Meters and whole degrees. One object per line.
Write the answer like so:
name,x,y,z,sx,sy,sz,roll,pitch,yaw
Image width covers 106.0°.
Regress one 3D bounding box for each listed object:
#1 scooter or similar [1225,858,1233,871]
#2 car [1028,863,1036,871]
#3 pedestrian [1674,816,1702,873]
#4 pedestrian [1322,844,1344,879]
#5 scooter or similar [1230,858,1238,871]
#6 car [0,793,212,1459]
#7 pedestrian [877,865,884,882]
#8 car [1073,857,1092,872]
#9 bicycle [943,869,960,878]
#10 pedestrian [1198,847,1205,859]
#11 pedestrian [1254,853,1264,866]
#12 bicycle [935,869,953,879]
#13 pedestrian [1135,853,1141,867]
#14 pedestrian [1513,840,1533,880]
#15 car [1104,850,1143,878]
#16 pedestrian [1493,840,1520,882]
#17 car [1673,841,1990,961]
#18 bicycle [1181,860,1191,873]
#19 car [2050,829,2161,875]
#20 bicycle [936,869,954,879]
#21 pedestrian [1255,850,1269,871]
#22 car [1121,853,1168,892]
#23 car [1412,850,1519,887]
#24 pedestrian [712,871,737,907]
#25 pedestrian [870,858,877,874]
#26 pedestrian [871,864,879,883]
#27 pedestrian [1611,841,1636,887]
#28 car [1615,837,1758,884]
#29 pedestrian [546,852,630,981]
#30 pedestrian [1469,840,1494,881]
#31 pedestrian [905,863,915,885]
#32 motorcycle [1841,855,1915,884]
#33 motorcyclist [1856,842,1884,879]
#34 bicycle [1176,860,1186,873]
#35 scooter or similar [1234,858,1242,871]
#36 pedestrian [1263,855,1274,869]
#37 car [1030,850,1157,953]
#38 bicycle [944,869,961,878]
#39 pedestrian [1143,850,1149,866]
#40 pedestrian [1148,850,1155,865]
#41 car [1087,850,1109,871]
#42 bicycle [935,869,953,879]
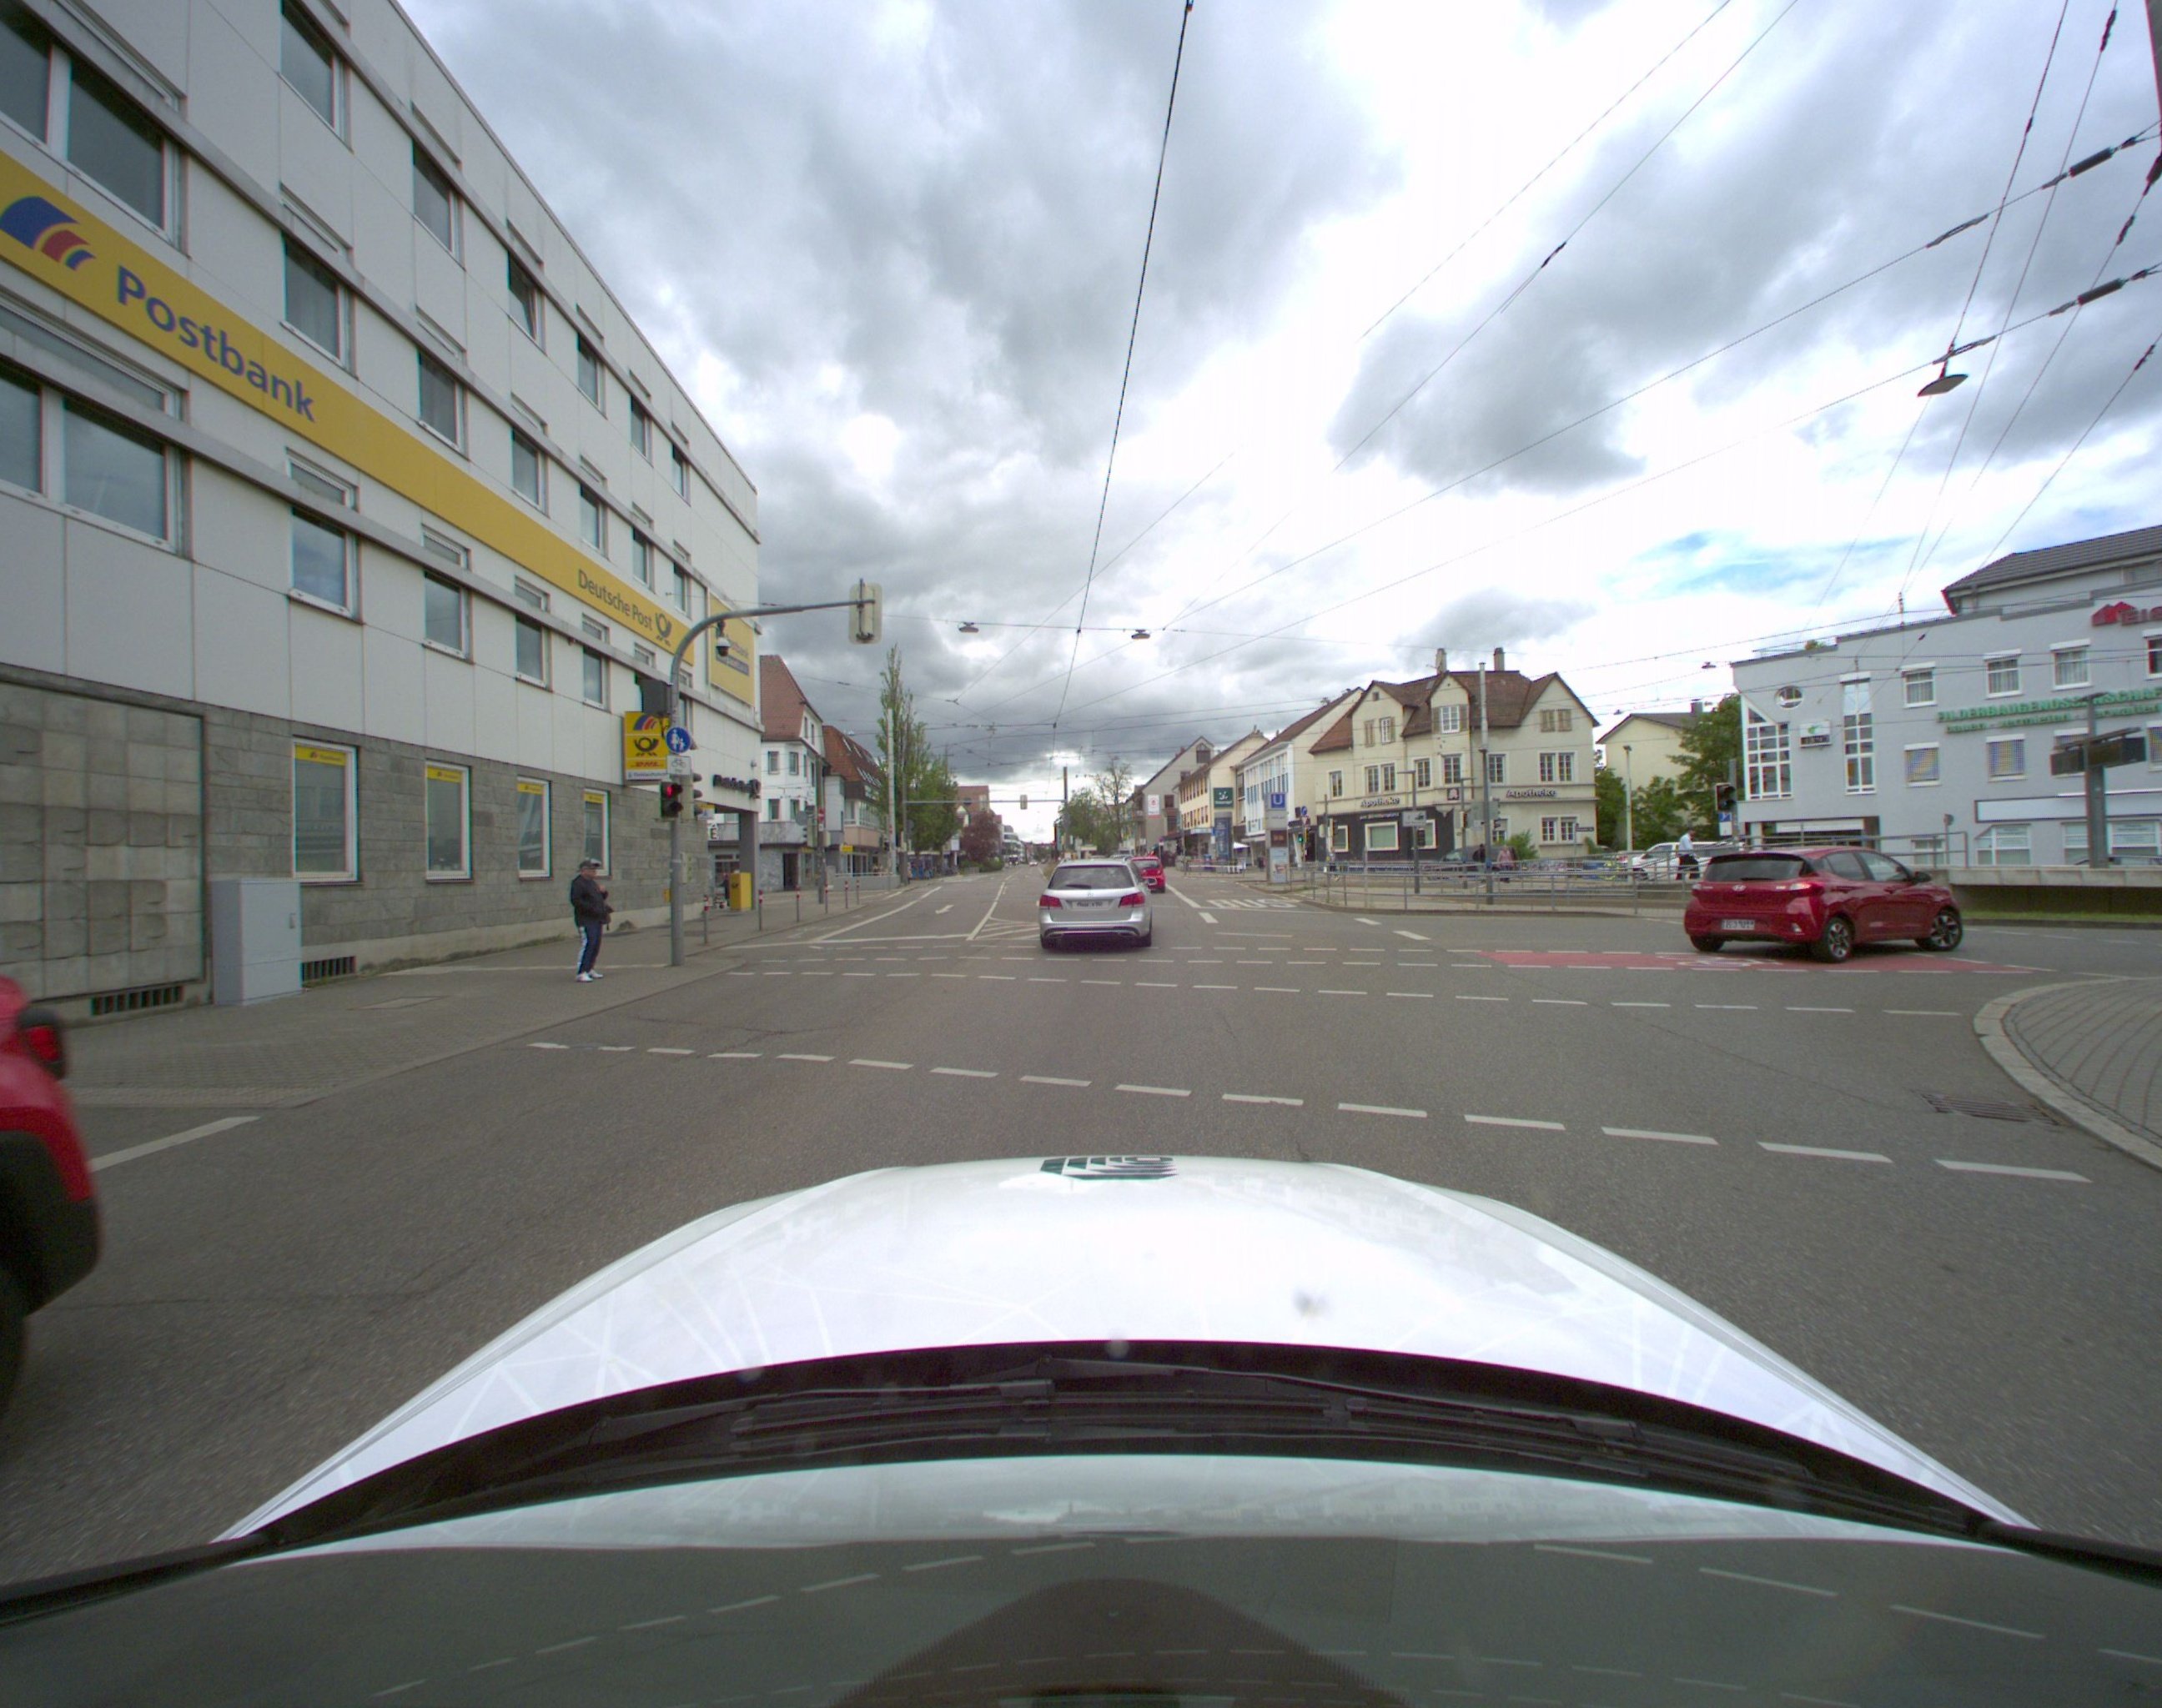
scooter or similar,11.467,0.831,63.037,0.271,1.001,1.027,-2,-1,-6
car,-12.231,3.200,203.286,1.990,2.014,3.993,-1,0,-5
pedestrian,18.907,-0.290,25.367,0.641,1.718,0.709,-2,-1,37
pedestrian,12.809,0.388,41.404,0.840,1.718,0.725,-2,-1,-7
scooter or similar,11.828,0.812,63.098,0.271,1.001,1.027,-2,-1,-6
car,-3.605,0.716,0.596,1.795,1.694,3.893,-2,0,-3
pedestrian,-19.381,1.878,78.866,0.579,1.606,0.641,-2,-1,-16
car,0.178,1.197,94.604,1.989,1.750,3.995,-1,0,-4
bicycle,-14.942,2.259,93.952,1.940,1.029,0.528,-1,-1,-13
pedestrian,12.692,-0.112,85.850,0.532,1.218,0.578,-1,-1,-6
pedestrian,15.567,0.486,71.257,0.735,1.164,0.641,-1,-1,-6
bicycle,-15.365,2.233,91.190,1.940,1.029,0.528,-1,-1,-13
pedestrian,6.086,0.667,86.883,0.578,1.435,0.649,-1,-1,-9
pedestrian,19.244,0.275,35.471,0.779,1.718,0.654,0,0,27
car,2.457,0.588,48.208,1.732,1.508,3.992,-2,0,-5
pedestrian,17.669,0.297,33.838,0.786,1.718,0.648,0,0,-7
car,10.615,0.571,11.537,4.001,1.452,1.692,-1,0,-21
bicycle,9.037,1.043,70.142,0.447,1.107,2.147,-2,-1,-2
car,35.171,-0.059,26.394,2.001,1.471,4.725,1,-2,-42
bicycle,-15.033,2.215,89.958,1.940,1.029,0.528,-1,-1,-13
pedestrian,14.357,0.523,64.551,0.643,1.591,0.891,0,-1,-23
car,2.711,0.738,33.934,1.725,1.508,4.008,-2,0,7
car,19.735,0.765,41.922,4.636,1.821,1.876,-2,-2,41
pedestrian,-14.390,1.393,32.843,0.497,1.414,0.756,-2,-1,22
pedestrian,-21.675,1.263,85.030,0.579,1.606,0.641,-2,-1,-16
pedestrian,-19.607,1.866,77.499,0.644,1.836,0.576,-2,-1,-17
pedestrian,20.699,0.381,31.075,0.641,1.718,0.794,0,0,44
car,26.537,0.344,35.828,2.001,1.919,4.725,1,-2,-42
pedestrian,-6.821,0.839,11.299,0.645,1.718,0.783,0,-1,4
pedestrian,17.216,0.293,35.014,0.702,1.718,0.648,-2,-1,-8
pedestrian,-12.482,1.440,59.521,0.635,1.606,0.701,-2,-1,-16
motorcycle,30.489,0.601,31.188,0.768,1.073,1.956,1,-2,-42
motorcyclist,30.362,0.267,31.338,0.768,1.394,0.684,1,-2,-43
bicycle,8.590,1.065,70.114,0.447,1.091,2.147,-2,-1,-2
scooter or similar,12.190,0.826,63.152,0.271,1.001,1.027,-2,-1,-6
pedestrian,15.702,0.638,68.333,0.735,1.164,0.641,-1,-1,-6
car,0.381,0.734,14.514,1.836,1.508,4.178,-2,0,6
bicycle,-14.687,2.245,92.994,1.940,1.029,0.528,-1,-1,-13
pedestrian,6.833,0.378,85.970,0.575,1.666,0.651,-1,-1,3
pedestrian,7.154,0.387,82.519,0.576,1.469,0.651,-1,-1,0
car,1.468,0.617,72.581,1.730,1.759,3.997,-2,0,-2
bicycle,-15.205,2.224,90.607,1.940,1.029,0.528,-1,-1,-13
